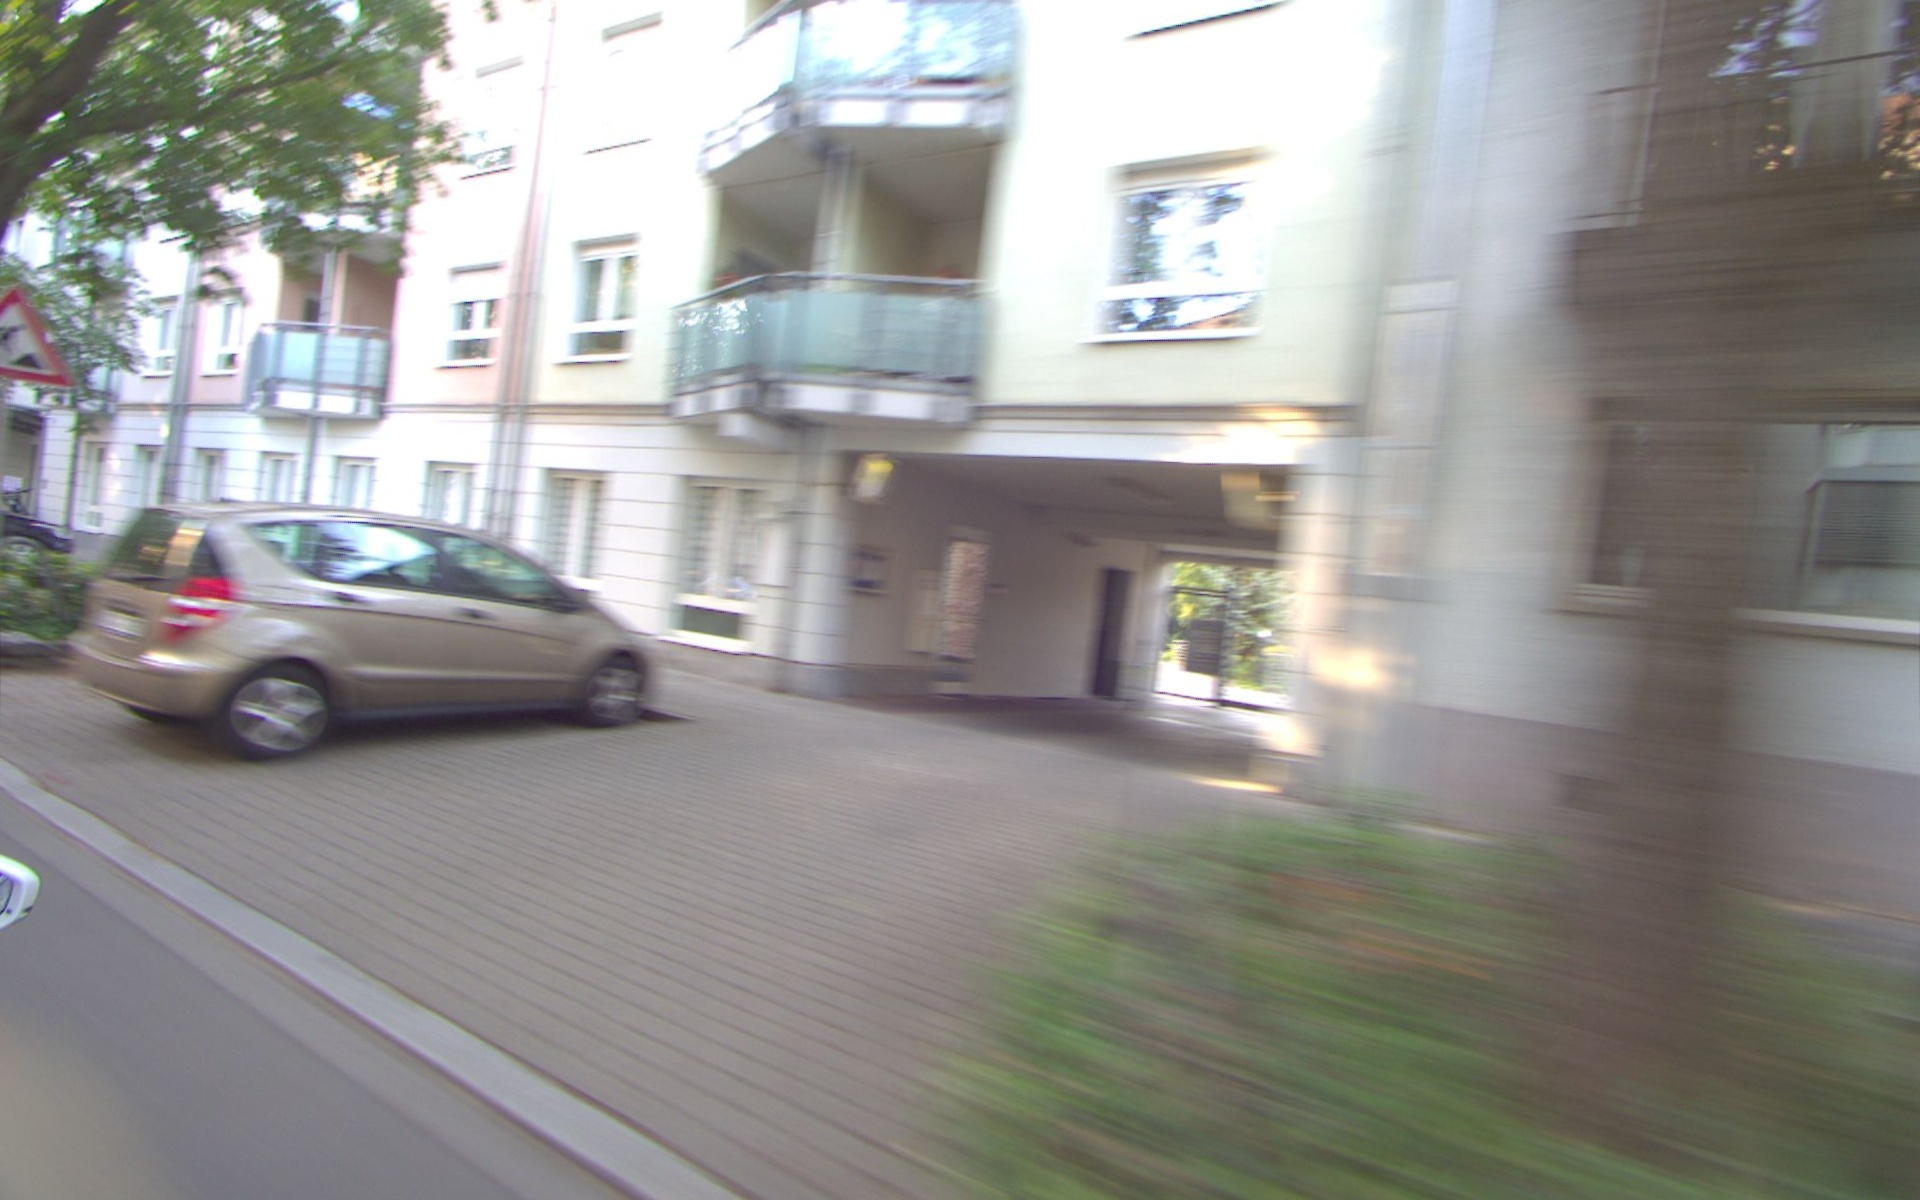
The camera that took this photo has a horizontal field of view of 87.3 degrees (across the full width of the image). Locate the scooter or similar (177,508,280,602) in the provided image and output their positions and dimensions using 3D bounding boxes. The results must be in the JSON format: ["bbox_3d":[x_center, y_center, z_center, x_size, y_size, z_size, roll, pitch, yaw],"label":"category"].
[{"bbox_3d":[-10.694,-0.655,14.701,1.430,1.219,0.655,7,3,30],"label":"scooter or similar"}]

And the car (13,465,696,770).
[{"bbox_3d":[-4.215,0.102,7.654,1.885,1.606,3.970,7,2,32],"label":"car"}]

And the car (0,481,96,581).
[{"bbox_3d":[-15.861,-1.177,14.988,1.901,1.471,4.087,7,2,27],"label":"car"}]
